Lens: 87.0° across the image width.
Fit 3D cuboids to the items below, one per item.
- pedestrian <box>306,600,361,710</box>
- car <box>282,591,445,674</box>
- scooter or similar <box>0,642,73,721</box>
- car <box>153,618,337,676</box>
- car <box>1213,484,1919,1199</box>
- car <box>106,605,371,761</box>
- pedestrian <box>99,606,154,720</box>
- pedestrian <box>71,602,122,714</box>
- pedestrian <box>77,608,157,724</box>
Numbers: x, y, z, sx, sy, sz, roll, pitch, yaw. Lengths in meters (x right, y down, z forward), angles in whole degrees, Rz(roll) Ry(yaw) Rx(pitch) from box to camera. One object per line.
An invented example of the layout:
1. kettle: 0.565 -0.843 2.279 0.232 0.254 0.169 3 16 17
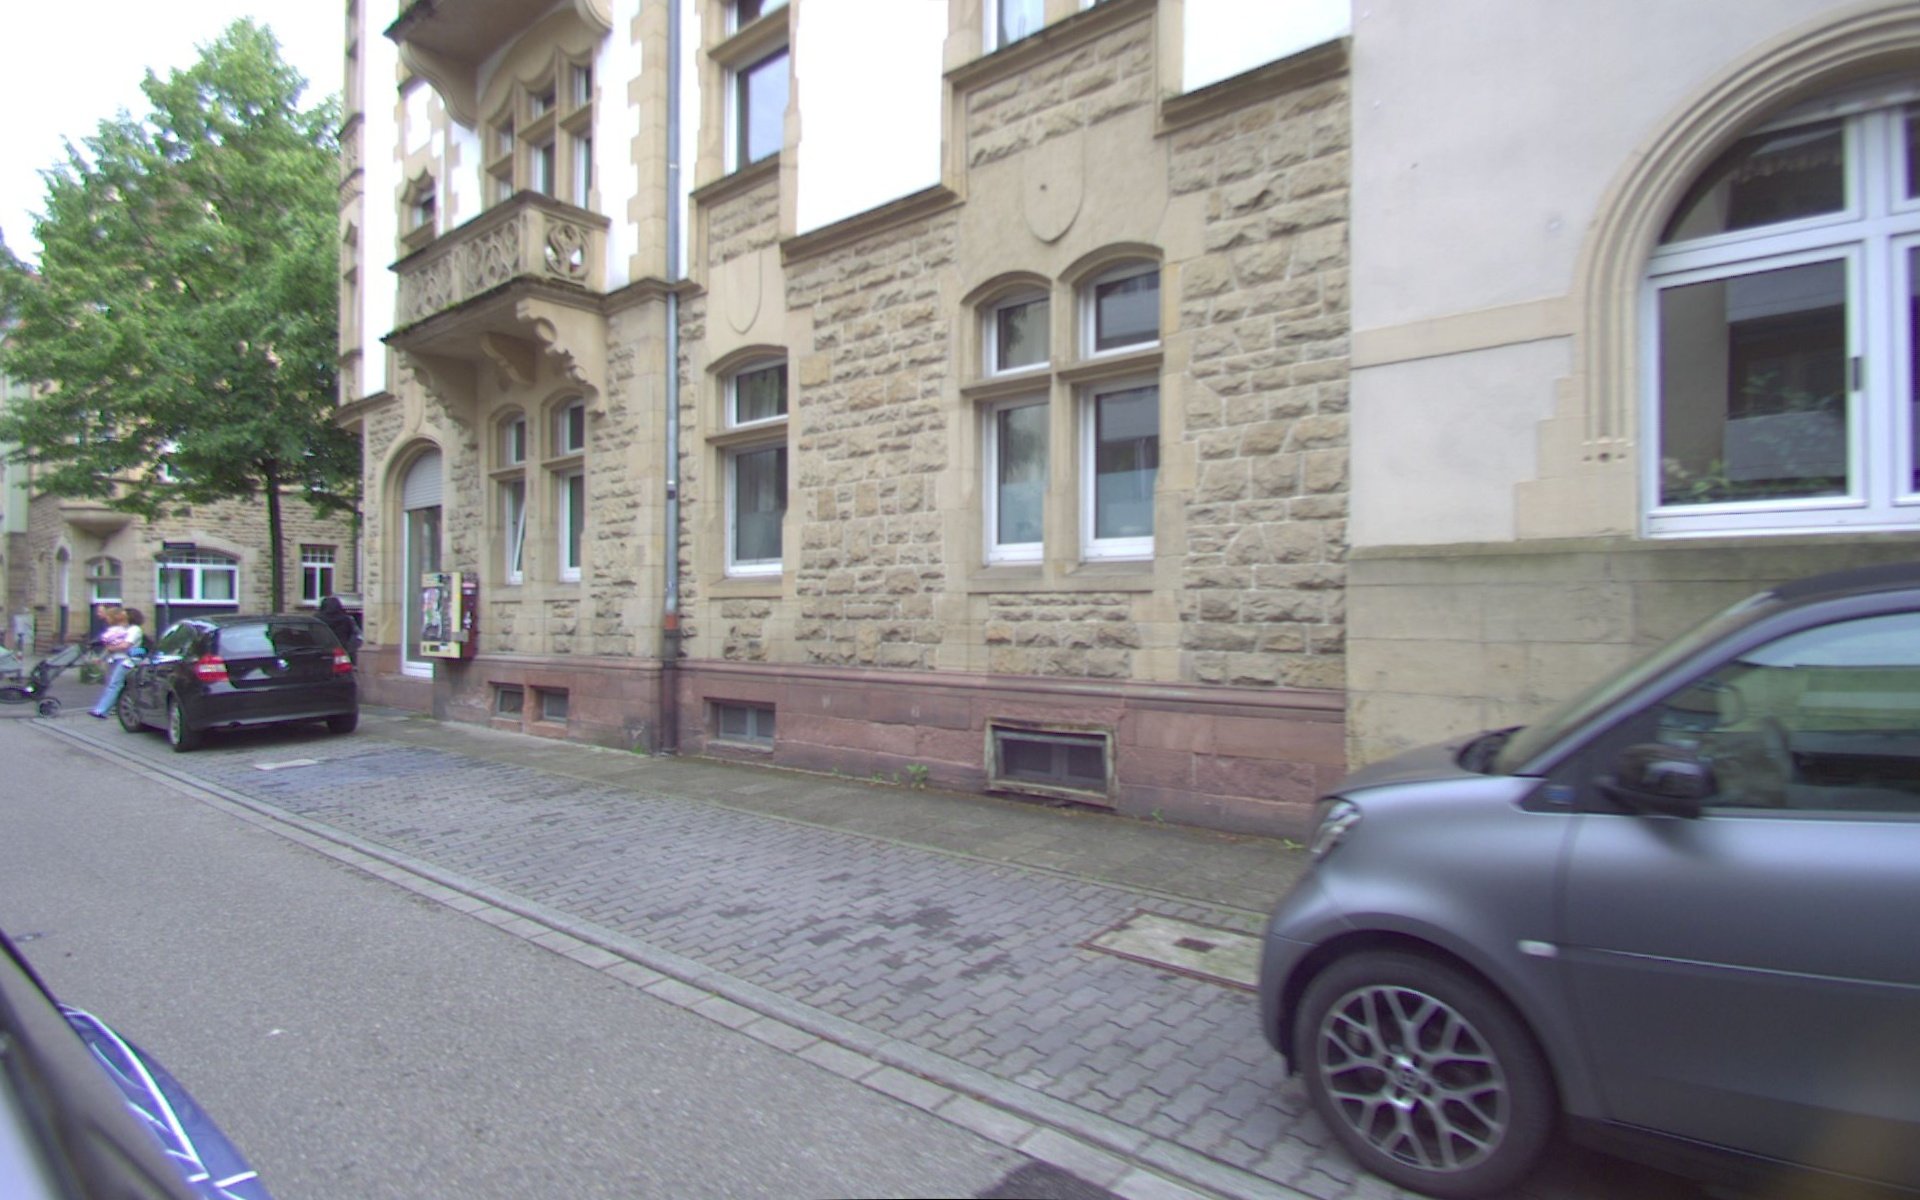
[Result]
1. pedestrian: -8.934 0.769 14.429 0.546 1.530 0.510 -1 -2 40
2. car: -15.335 0.807 26.008 3.943 1.983 1.816 -1 -1 28
3. scooter or similar: -13.860 1.173 14.657 1.450 1.112 0.677 2 -2 -38
4. car: -21.012 1.337 29.838 4.220 1.477 1.665 1 2 -43
5. car: 2.345 0.568 2.385 2.954 1.582 1.630 -2 -1 39
6. car: -8.578 0.843 11.909 3.999 1.506 1.691 -1 0 42
7. pedestrian: -12.427 0.916 15.106 0.608 1.656 0.604 0 -1 -38
8. pedestrian: -13.130 0.863 15.393 0.521 1.656 0.529 -1 0 -35
9. pedestrian: -11.963 0.916 14.374 0.621 1.606 0.671 0 -1 -9
